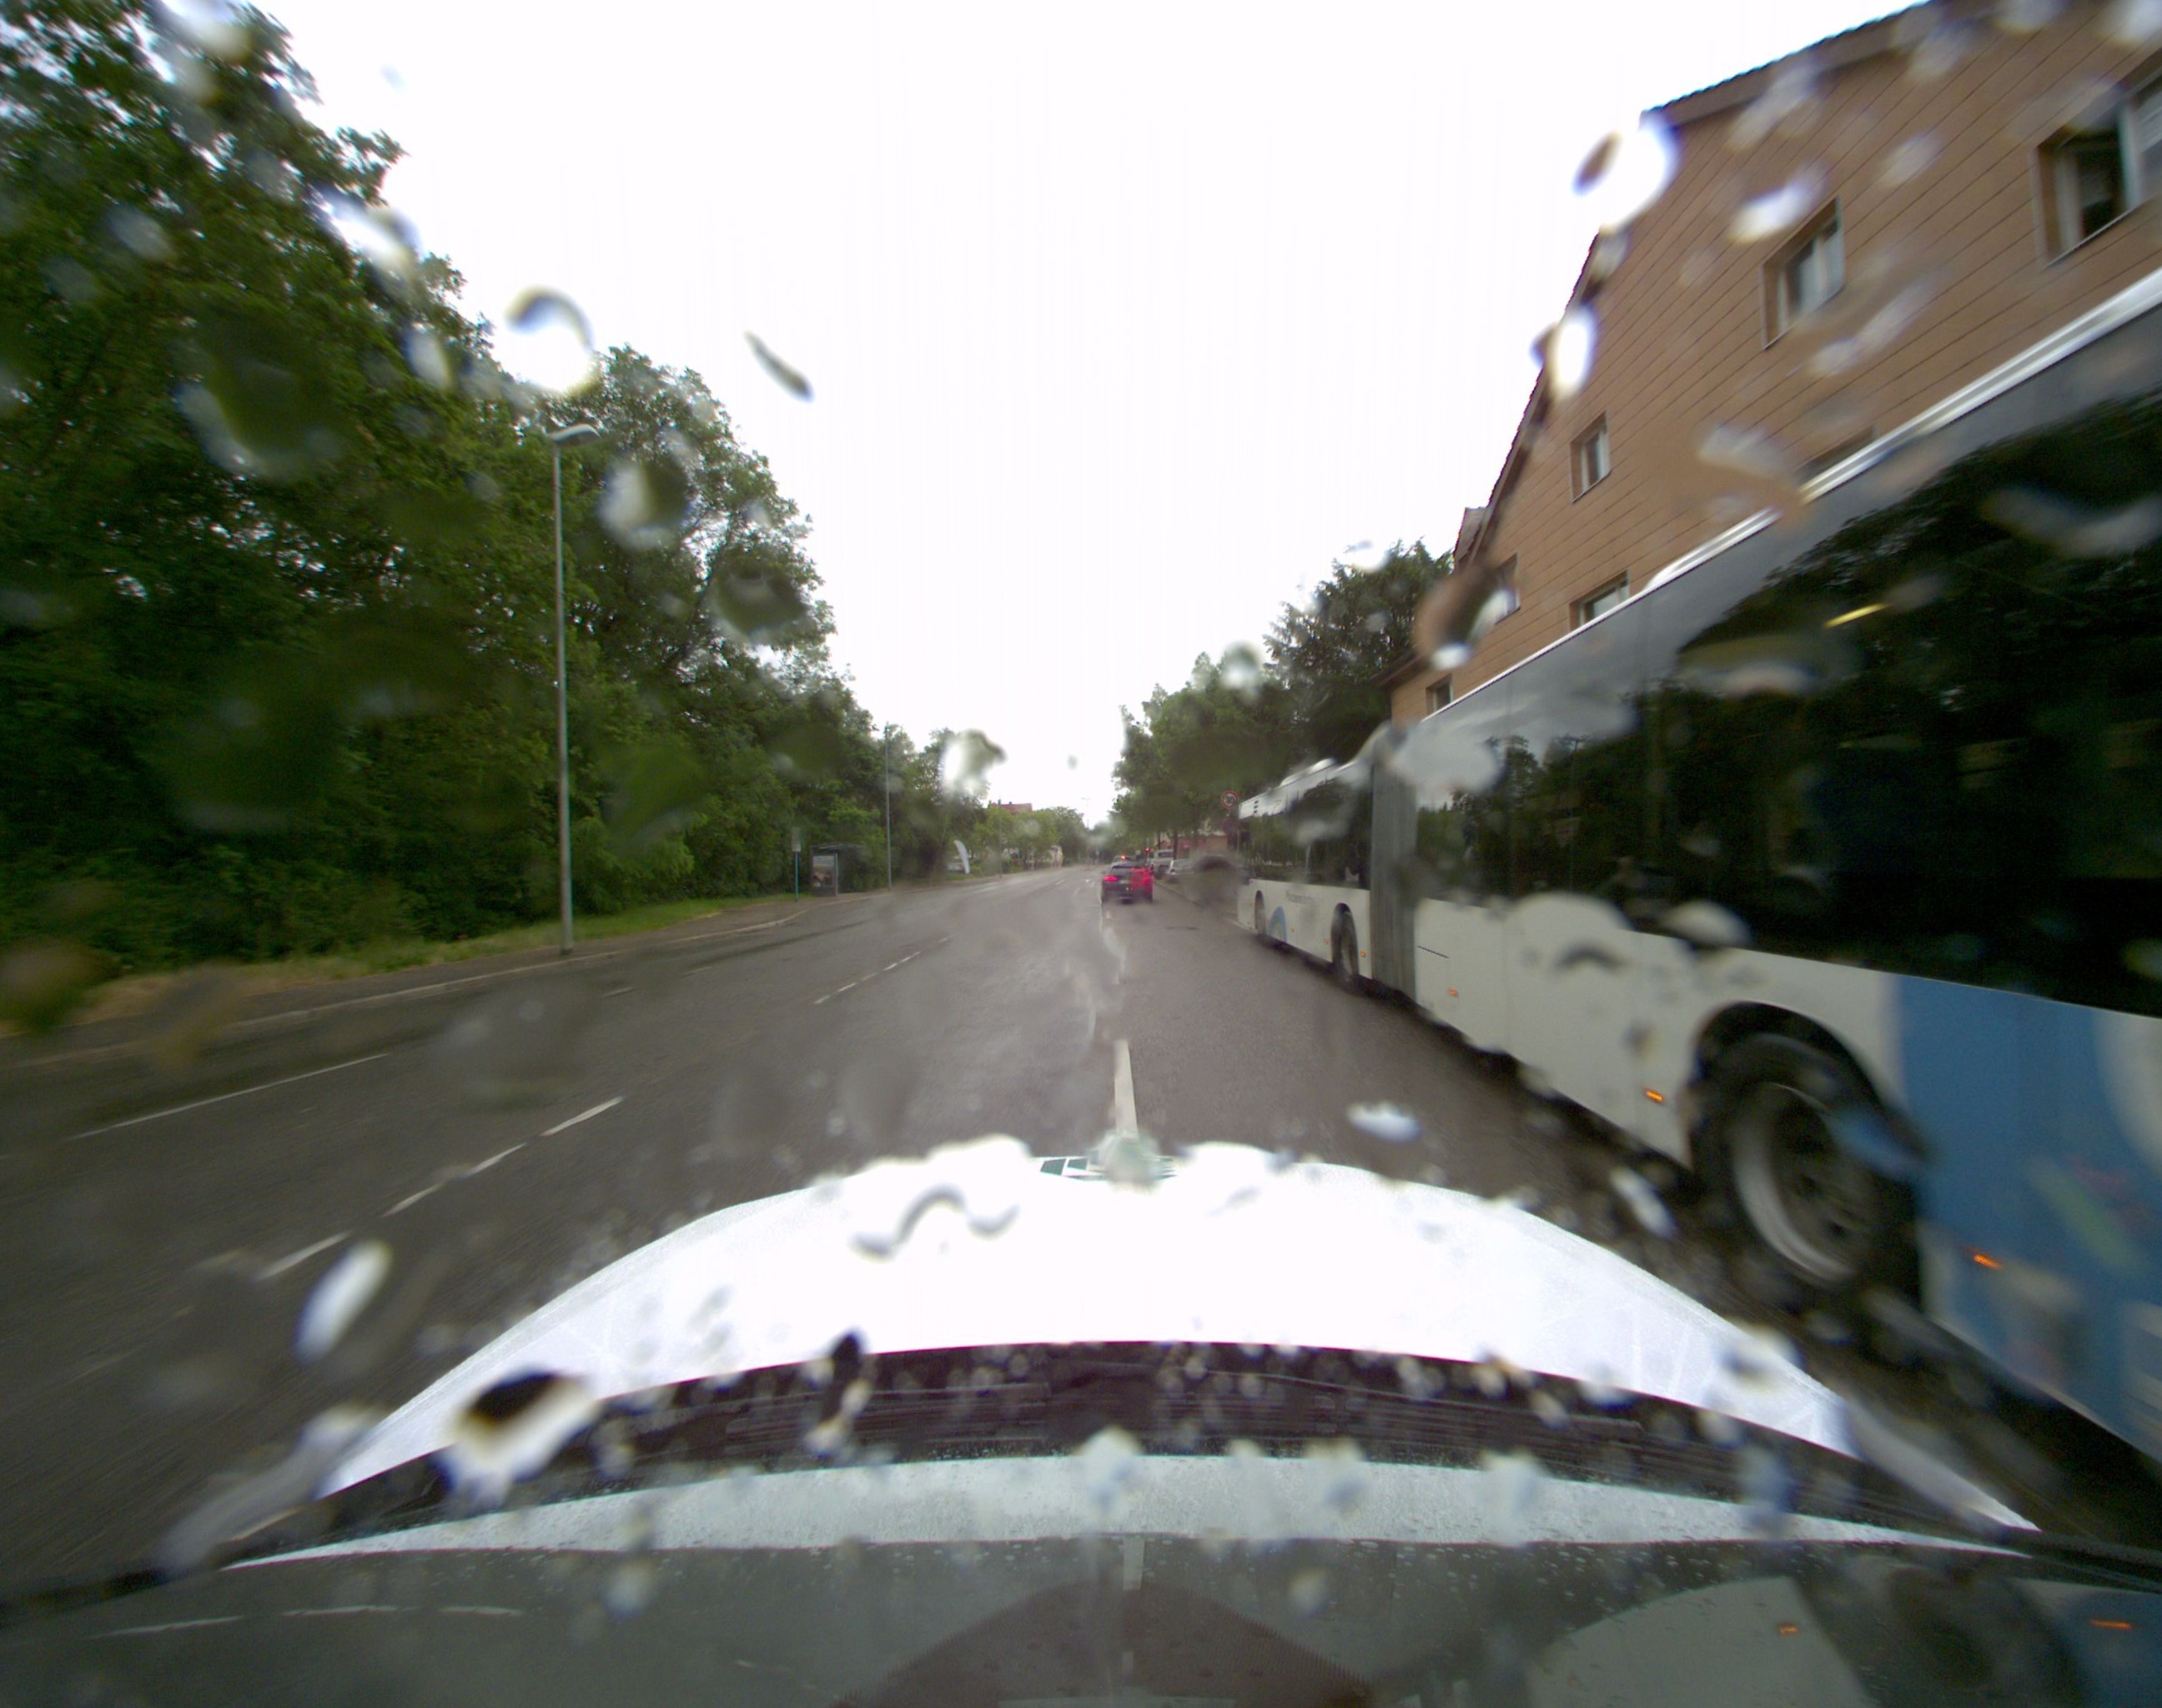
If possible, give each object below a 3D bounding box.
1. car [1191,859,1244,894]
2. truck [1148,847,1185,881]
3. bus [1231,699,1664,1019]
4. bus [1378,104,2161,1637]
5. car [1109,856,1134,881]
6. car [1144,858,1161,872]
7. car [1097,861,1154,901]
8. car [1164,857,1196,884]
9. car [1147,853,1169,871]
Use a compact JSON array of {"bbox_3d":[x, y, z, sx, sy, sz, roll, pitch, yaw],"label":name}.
[{"bbox_3d":[6.038,0.955,36.422,1.682,1.389,4.501,-3,0,1],"label":"car"},{"bbox_3d":[6.210,0.693,59.751,2.072,2.221,6.503,-4,-1,1],"label":"truck"},{"bbox_3d":[4.282,0.072,12.341,2.547,2.959,9.453,-1,0,2],"label":"bus"},{"bbox_3d":[3.612,0.039,3.472,2.541,2.959,8.574,-1,0,7],"label":"bus"},{"bbox_3d":[3.051,1.093,61.478,1.777,1.817,4.001,-1,0,1],"label":"car"},{"bbox_3d":[7.676,1.161,87.584,1.578,1.491,3.628,-2,0,1],"label":"car"},{"bbox_3d":[1.648,1.001,31.457,2.057,1.446,4.483,0,-1,1],"label":"car"},{"bbox_3d":[6.018,0.987,49.987,1.595,1.436,4.024,-4,0,3],"label":"car"},{"bbox_3d":[6.813,0.708,72.466,1.707,1.498,4.186,-4,-1,3],"label":"car"}]
